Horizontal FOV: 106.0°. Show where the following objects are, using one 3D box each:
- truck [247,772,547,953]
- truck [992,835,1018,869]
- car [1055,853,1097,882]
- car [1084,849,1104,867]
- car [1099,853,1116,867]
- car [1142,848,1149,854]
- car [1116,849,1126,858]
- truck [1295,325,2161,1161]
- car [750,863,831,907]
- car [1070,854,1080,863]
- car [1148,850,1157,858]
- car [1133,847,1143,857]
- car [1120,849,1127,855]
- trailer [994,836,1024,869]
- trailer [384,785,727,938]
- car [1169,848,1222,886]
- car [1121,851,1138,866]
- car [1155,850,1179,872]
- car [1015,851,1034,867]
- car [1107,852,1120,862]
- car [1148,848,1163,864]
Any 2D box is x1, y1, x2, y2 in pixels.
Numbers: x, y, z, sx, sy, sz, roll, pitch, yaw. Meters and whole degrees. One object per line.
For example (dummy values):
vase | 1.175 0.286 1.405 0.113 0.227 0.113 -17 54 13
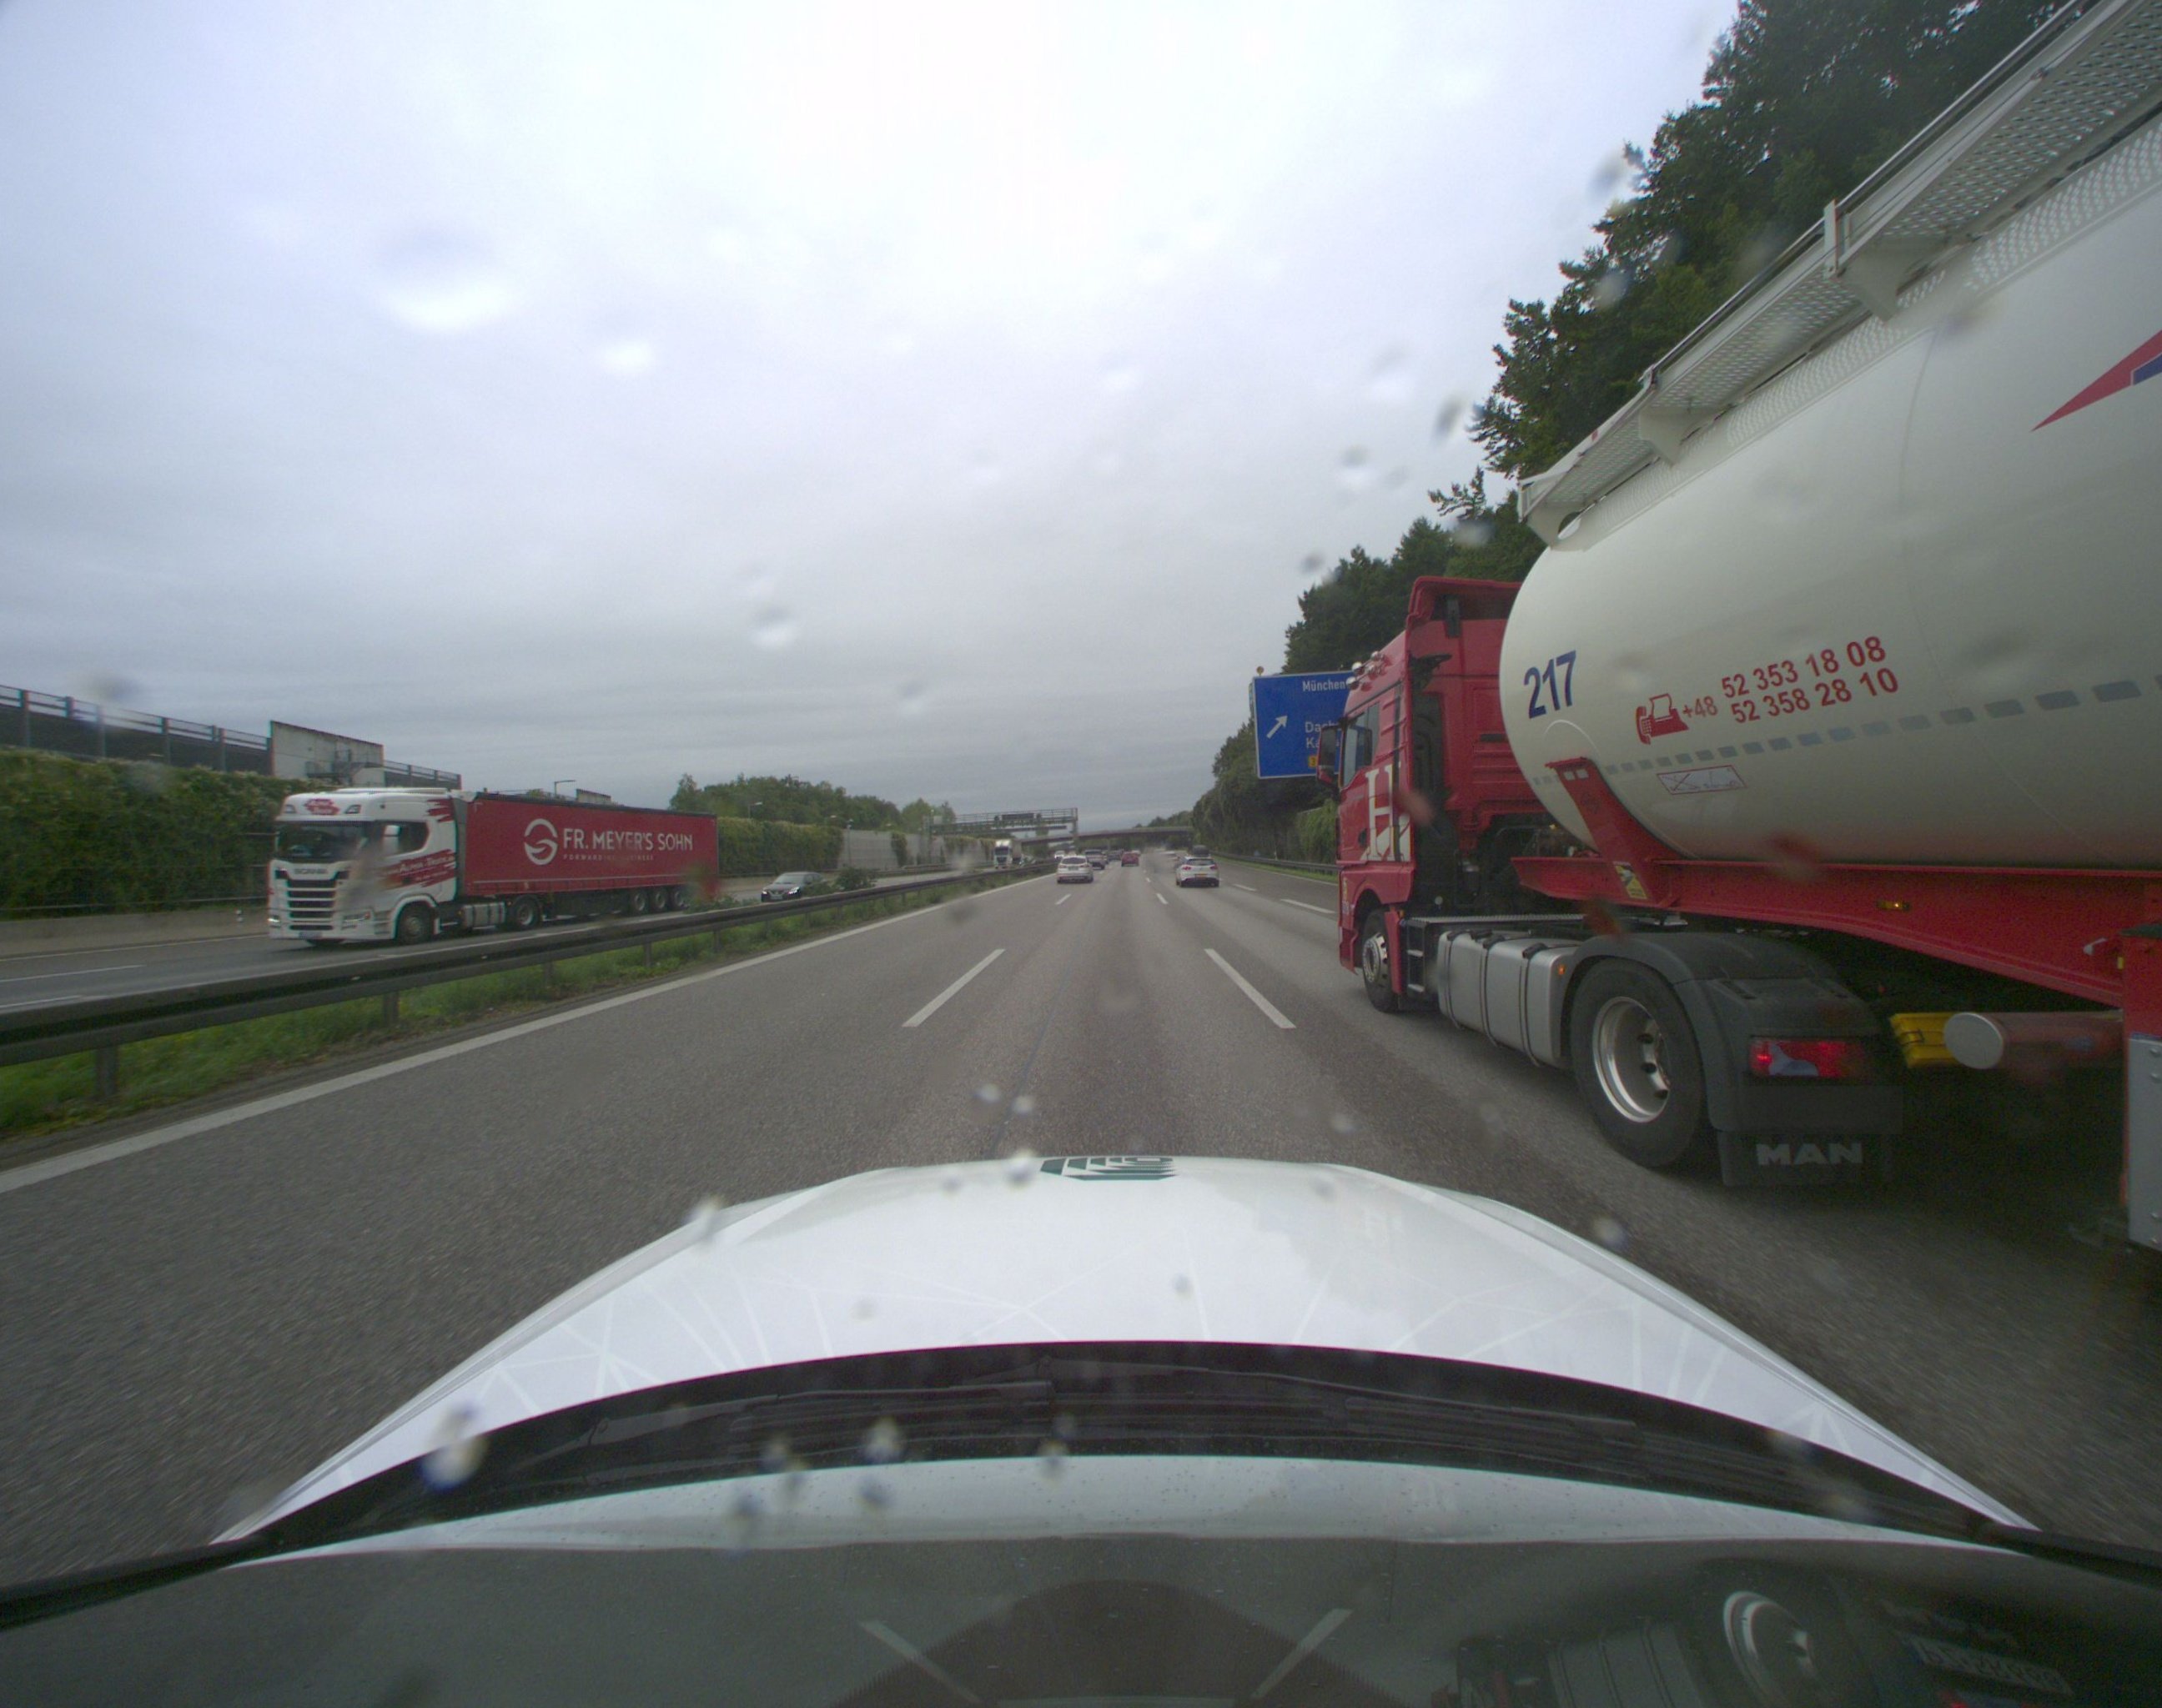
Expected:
truck | -17.844 0.196 21.880 2.656 4.127 5.924 -2 0 5
truck | -10.547 -0.242 113.520 2.637 4.473 5.289 -2 0 4
car | -0.196 0.706 44.212 1.883 1.504 5.036 -1 0 4
car | 1.164 0.326 73.179 1.683 1.506 3.872 3 0 1
car | 3.202 0.688 98.121 1.680 1.506 3.877 -3 0 6
car | 16.641 -0.858 210.660 1.681 1.422 4.076 -2 0 4
car | 7.671 -0.106 155.707 1.680 1.639 3.877 -2 -1 6
truck | 4.020 -0.522 7.147 2.685 3.912 6.559 -1 0 2
car | -12.565 1.281 35.504 1.986 1.739 4.002 -1 0 2
car | -1.415 1.067 186.241 1.985 2.014 4.003 -1 -1 3
car | 14.332 -0.024 162.833 1.680 1.539 3.877 -2 0 6
car | 10.798 -0.345 154.763 1.781 1.779 3.877 -2 -1 6
car | 10.450 -0.375 198.701 1.681 1.422 3.875 -2 0 4
trailer | -10.272 -0.206 117.120 2.656 4.444 8.583 -2 0 4
trailer | -17.396 0.210 29.179 2.733 4.127 13.699 -1 0 3
car | 5.224 0.583 37.708 1.809 1.625 5.030 1 -1 1
car | 5.078 0.440 84.724 1.681 1.506 3.876 3 0 4
car | 6.270 0.492 59.577 1.681 1.506 3.876 -1 -1 5
car | -7.527 0.703 108.967 1.985 2.014 4.914 -1 -1 3
car | 4.847 0.439 120.348 1.680 1.506 3.877 0 0 6
car | 8.777 0.235 95.437 1.680 1.779 3.877 -2 0 6
